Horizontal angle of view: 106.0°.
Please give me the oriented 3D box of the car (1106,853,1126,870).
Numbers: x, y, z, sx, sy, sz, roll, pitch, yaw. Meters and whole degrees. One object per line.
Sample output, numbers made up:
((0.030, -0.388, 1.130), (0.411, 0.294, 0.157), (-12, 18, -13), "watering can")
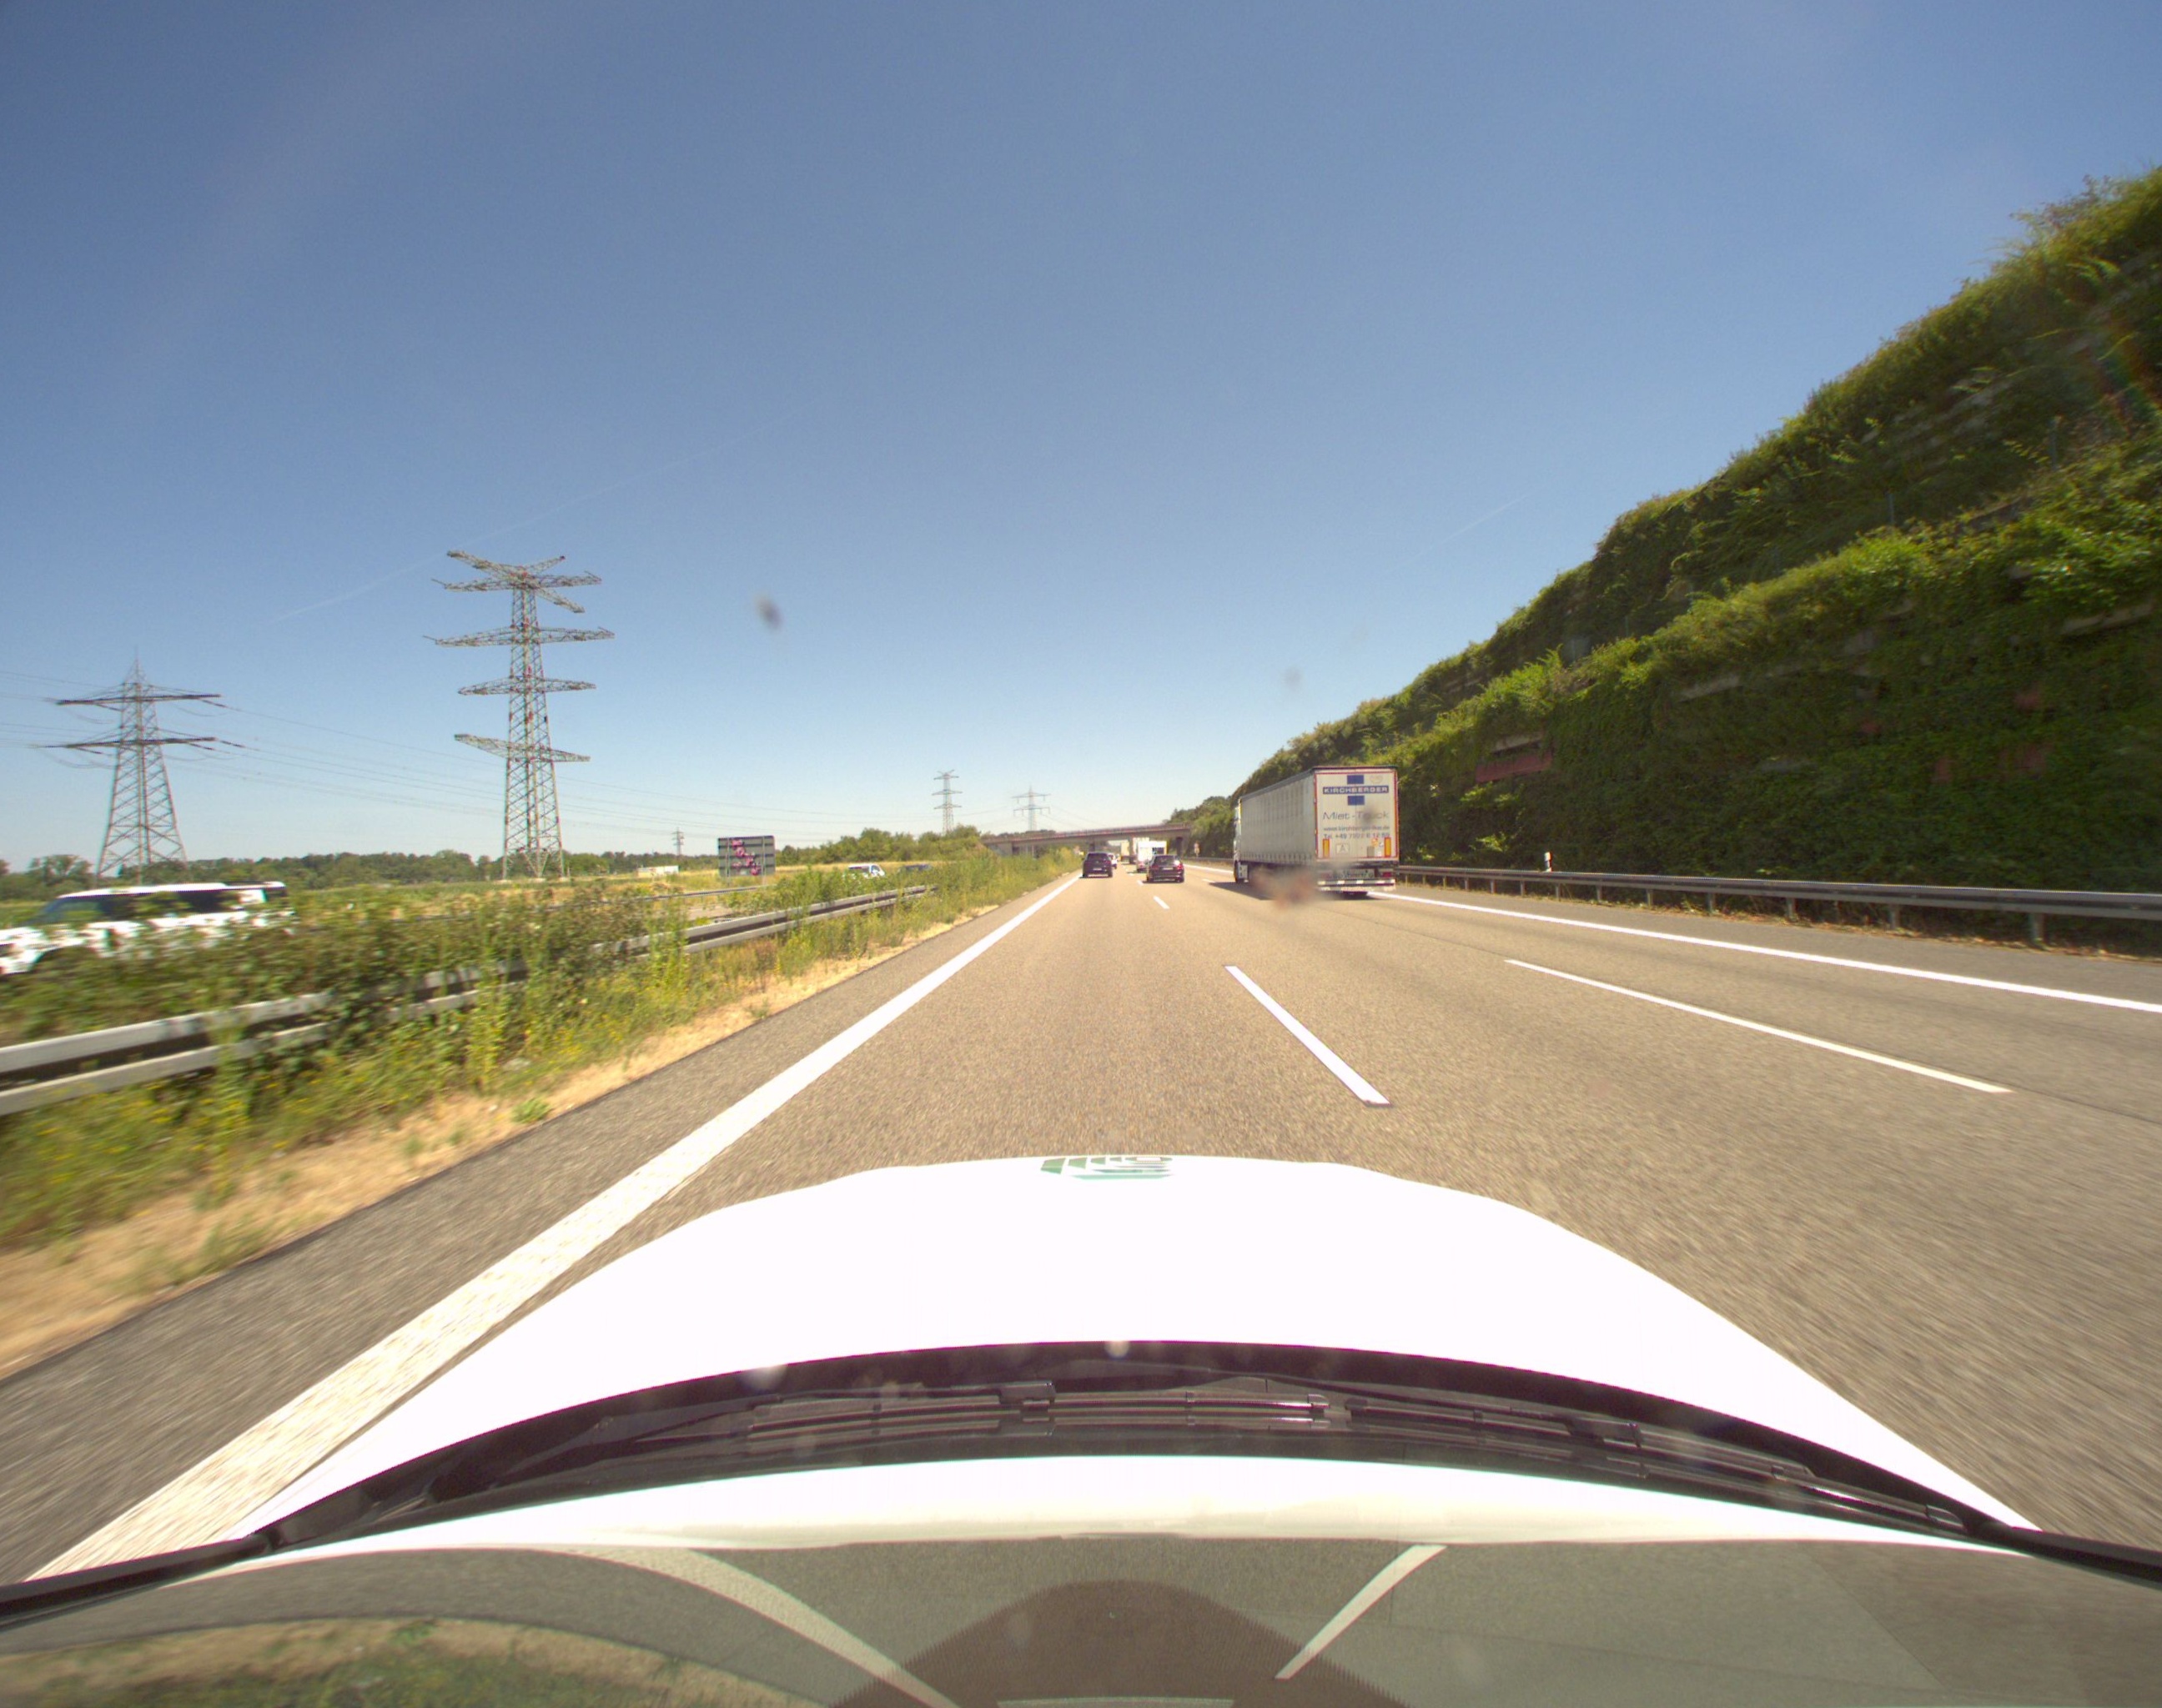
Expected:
((3.641, 0.746, 85.424), (1.824, 1.670, 3.999), (-2, 0, 0), "car")

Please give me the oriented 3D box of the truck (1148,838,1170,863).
((13.956, -0.629, 146.960), (3.107, 4.280, 10.171), (-2, 0, 2), "truck")

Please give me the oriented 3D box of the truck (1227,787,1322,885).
((8.912, -0.769, 38.125), (3.124, 4.141, 5.505), (-2, 0, 1), "truck")

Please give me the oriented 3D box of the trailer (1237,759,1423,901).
((8.693, -0.723, 30.943), (3.171, 4.121, 13.436), (-2, 0, 2), "trailer")

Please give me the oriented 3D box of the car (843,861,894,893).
((-12.052, 1.296, 46.462), (1.605, 1.651, 3.925), (-2, 0, 3), "car")

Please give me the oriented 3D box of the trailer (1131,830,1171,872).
((5.813, -0.229, 69.065), (2.601, 3.213, 9.954), (-2, 0, 1), "trailer")

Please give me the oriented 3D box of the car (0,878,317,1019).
((-17.027, 1.518, 14.543), (1.891, 1.965, 4.997), (-2, 0, 2), "car")

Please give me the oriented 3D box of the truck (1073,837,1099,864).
((0.890, -0.523, 133.508), (3.948, 4.113, 9.954), (-2, 0, 1), "truck")

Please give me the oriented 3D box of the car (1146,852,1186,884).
((4.442, 0.700, 43.077), (1.823, 1.525, 4.002), (-2, 0, 2), "car")

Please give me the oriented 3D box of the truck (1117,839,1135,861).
((9.365, -0.847, 171.601), (3.397, 4.280, 10.611), (-2, 0, 2), "truck")

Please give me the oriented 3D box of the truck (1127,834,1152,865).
((8.707, -0.640, 122.144), (3.107, 4.280, 11.938), (-2, 0, 2), "truck")

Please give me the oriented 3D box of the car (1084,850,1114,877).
((1.205, 0.624, 54.719), (1.823, 1.670, 4.001), (-2, 0, 1), "car")
